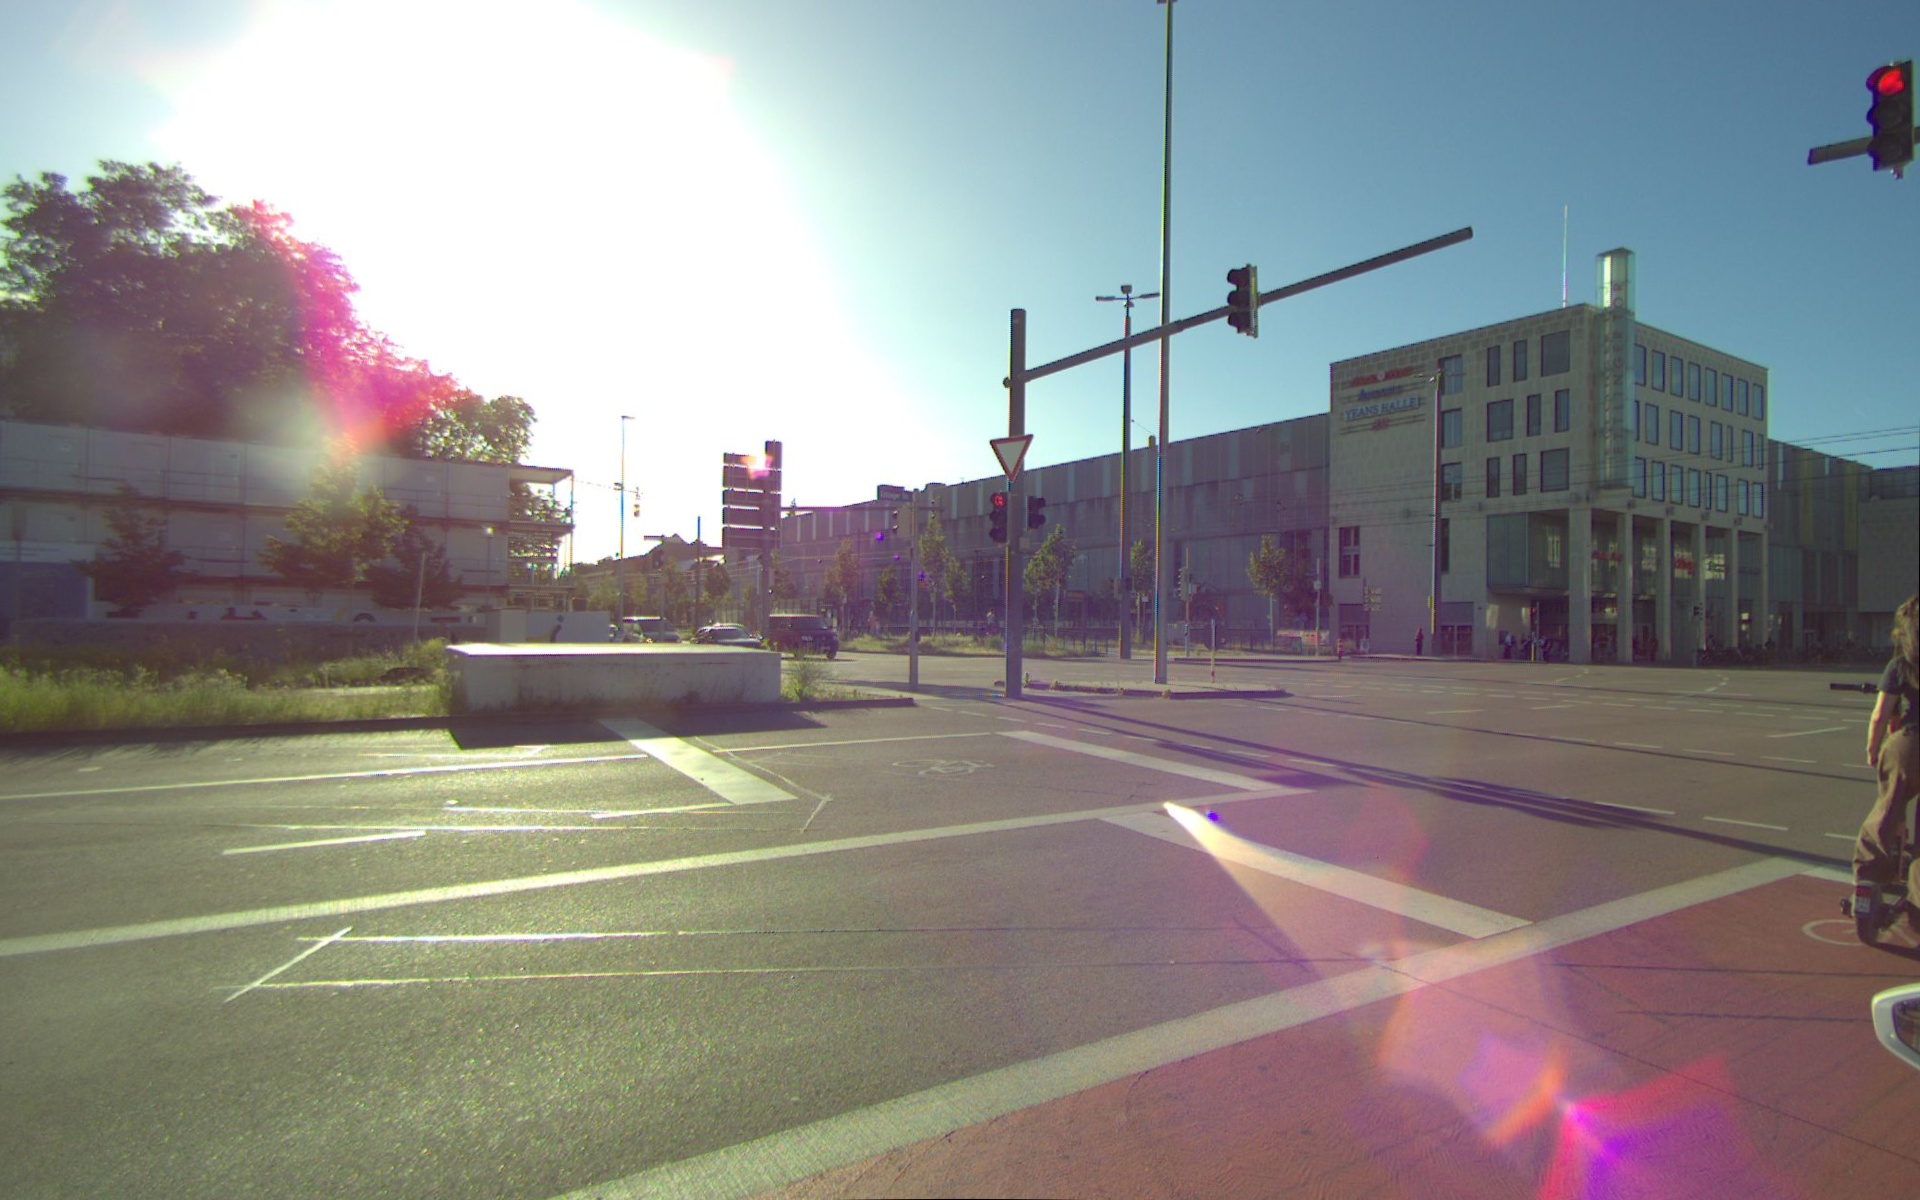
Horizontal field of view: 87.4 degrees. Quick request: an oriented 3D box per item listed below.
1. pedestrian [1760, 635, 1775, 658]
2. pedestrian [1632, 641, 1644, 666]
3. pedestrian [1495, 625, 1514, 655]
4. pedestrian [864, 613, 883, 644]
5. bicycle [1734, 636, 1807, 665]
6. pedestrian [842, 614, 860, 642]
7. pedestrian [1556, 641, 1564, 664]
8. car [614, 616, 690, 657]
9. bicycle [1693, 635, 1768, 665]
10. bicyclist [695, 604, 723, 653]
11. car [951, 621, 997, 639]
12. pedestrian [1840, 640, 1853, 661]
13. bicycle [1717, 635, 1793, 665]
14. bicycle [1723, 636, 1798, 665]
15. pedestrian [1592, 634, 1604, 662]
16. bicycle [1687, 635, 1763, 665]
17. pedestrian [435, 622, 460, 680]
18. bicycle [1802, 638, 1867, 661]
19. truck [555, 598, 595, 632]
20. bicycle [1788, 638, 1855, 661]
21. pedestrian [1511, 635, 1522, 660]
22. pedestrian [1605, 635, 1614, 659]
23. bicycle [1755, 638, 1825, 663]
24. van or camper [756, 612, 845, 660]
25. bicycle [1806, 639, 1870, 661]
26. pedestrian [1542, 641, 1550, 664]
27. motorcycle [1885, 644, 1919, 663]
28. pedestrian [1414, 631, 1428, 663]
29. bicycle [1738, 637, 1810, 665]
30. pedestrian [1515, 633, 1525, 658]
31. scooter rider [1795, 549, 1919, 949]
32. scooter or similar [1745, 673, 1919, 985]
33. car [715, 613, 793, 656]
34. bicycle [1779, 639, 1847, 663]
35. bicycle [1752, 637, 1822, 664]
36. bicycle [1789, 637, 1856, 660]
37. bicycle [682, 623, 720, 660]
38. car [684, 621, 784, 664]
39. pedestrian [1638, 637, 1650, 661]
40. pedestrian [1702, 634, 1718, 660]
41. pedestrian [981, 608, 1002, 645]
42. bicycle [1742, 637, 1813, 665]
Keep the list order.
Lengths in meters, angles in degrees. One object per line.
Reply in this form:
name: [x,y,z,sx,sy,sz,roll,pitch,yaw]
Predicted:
pedestrian: [57.488,3.311,71.507,0.689,1.664,0.648,1,-1,-38]
pedestrian: [44.344,3.479,65.691,0.508,1.606,0.479,1,-1,-34]
pedestrian: [32.900,2.424,60.691,0.729,1.822,0.752,1,-1,-34]
pedestrian: [-5.245,1.720,60.817,0.889,1.855,0.787,1,-1,-35]
bicycle: [51.121,3.188,63.424,0.979,1.719,3.462,1,-2,-40]
pedestrian: [-7.130,1.828,65.679,0.889,1.855,0.787,1,-1,-35]
pedestrian: [37.978,3.308,63.577,0.381,1.431,0.437,0,-1,32]
car: [-14.824,1.706,48.137,1.981,1.849,4.821,1,-2,-36]
bicycle: [46.602,2.993,60.815,1.107,1.719,3.465,1,-2,-38]
bicyclist: [-13.952,1.604,55.897,1.007,2.677,1.610,1,-1,-34]
car: [1.223,2.705,91.481,1.981,1.628,4.436,1,-2,-35]
pedestrian: [70.873,4.021,80.341,0.689,1.664,0.691,1,-1,-41]
bicycle: [48.216,3.011,60.938,1.107,1.719,3.465,1,-2,-38]
bicycle: [49.145,3.078,61.738,1.107,1.719,3.465,1,-2,-38]
pedestrian: [37.636,2.816,59.238,0.532,1.664,0.549,0,-1,28]
bicycle: [45.701,2.975,60.032,1.107,1.719,3.465,1,-2,-38]
pedestrian: [-15.265,1.507,29.912,0.619,1.674,0.935,1,-1,-30]
bicycle: [63.707,3.587,73.202,0.979,1.547,3.462,2,-2,-40]
truck: [-33.477,1.332,87.248,1.979,2.875,6.293,1,-2,-33]
bicycle: [60.383,3.432,70.470,0.979,1.547,3.462,2,-2,-40]
pedestrian: [35.827,3.033,64.669,0.452,1.586,0.420,1,-1,-30]
pedestrian: [43.549,3.128,67.355,0.363,1.606,0.384,1,-1,-34]
bicycle: [55.258,3.327,66.920,0.979,1.547,3.462,2,-2,-40]
van or camper: [-7.289,1.593,45.544,1.981,2.040,4.821,1,-2,-36]
bicycle: [64.507,3.643,73.851,0.979,1.547,3.462,2,-2,-40]
pedestrian: [37.177,3.347,63.730,0.381,1.445,0.500,0,-1,39]
motorcycle: [70.748,4.015,75.084,0.713,1.335,2.260,1,-2,-34]
pedestrian: [24.482,2.491,53.372,0.543,1.716,0.521,1,-1,-40]
bicycle: [51.947,3.225,64.158,0.979,1.719,3.462,1,-2,-40]
pedestrian: [35.933,2.940,64.496,0.453,1.586,0.419,1,-1,-35]
scooter rider: [4.623,0.678,4.813,0.801,1.798,0.725,1,-1,-30]
scooter or similar: [4.537,0.989,4.765,1.645,1.218,0.725,1,-1,-30]
car: [-10.389,1.698,50.416,1.981,2.040,4.821,1,-2,-36]
bicycle: [58.875,3.477,69.389,0.979,1.547,3.462,2,-2,-40]
bicycle: [54.507,3.319,66.252,0.979,1.719,3.462,1,-2,-40]
bicycle: [61.190,3.449,71.302,0.979,1.547,3.462,2,-2,-40]
bicycle: [-14.728,2.310,56.998,1.007,2.040,3.472,1,-2,-33]
car: [-9.396,1.706,41.511,2.313,1.671,4.821,1,-2,-37]
pedestrian: [44.968,3.216,66.015,0.508,1.530,0.479,1,-1,-34]
pedestrian: [49.706,3.123,66.598,0.773,1.664,0.693,0,-1,32]
pedestrian: [1.586,1.323,50.592,0.788,1.855,0.706,1,-1,-37]
bicycle: [52.861,3.257,64.962,0.979,1.719,3.462,1,-2,-40]
